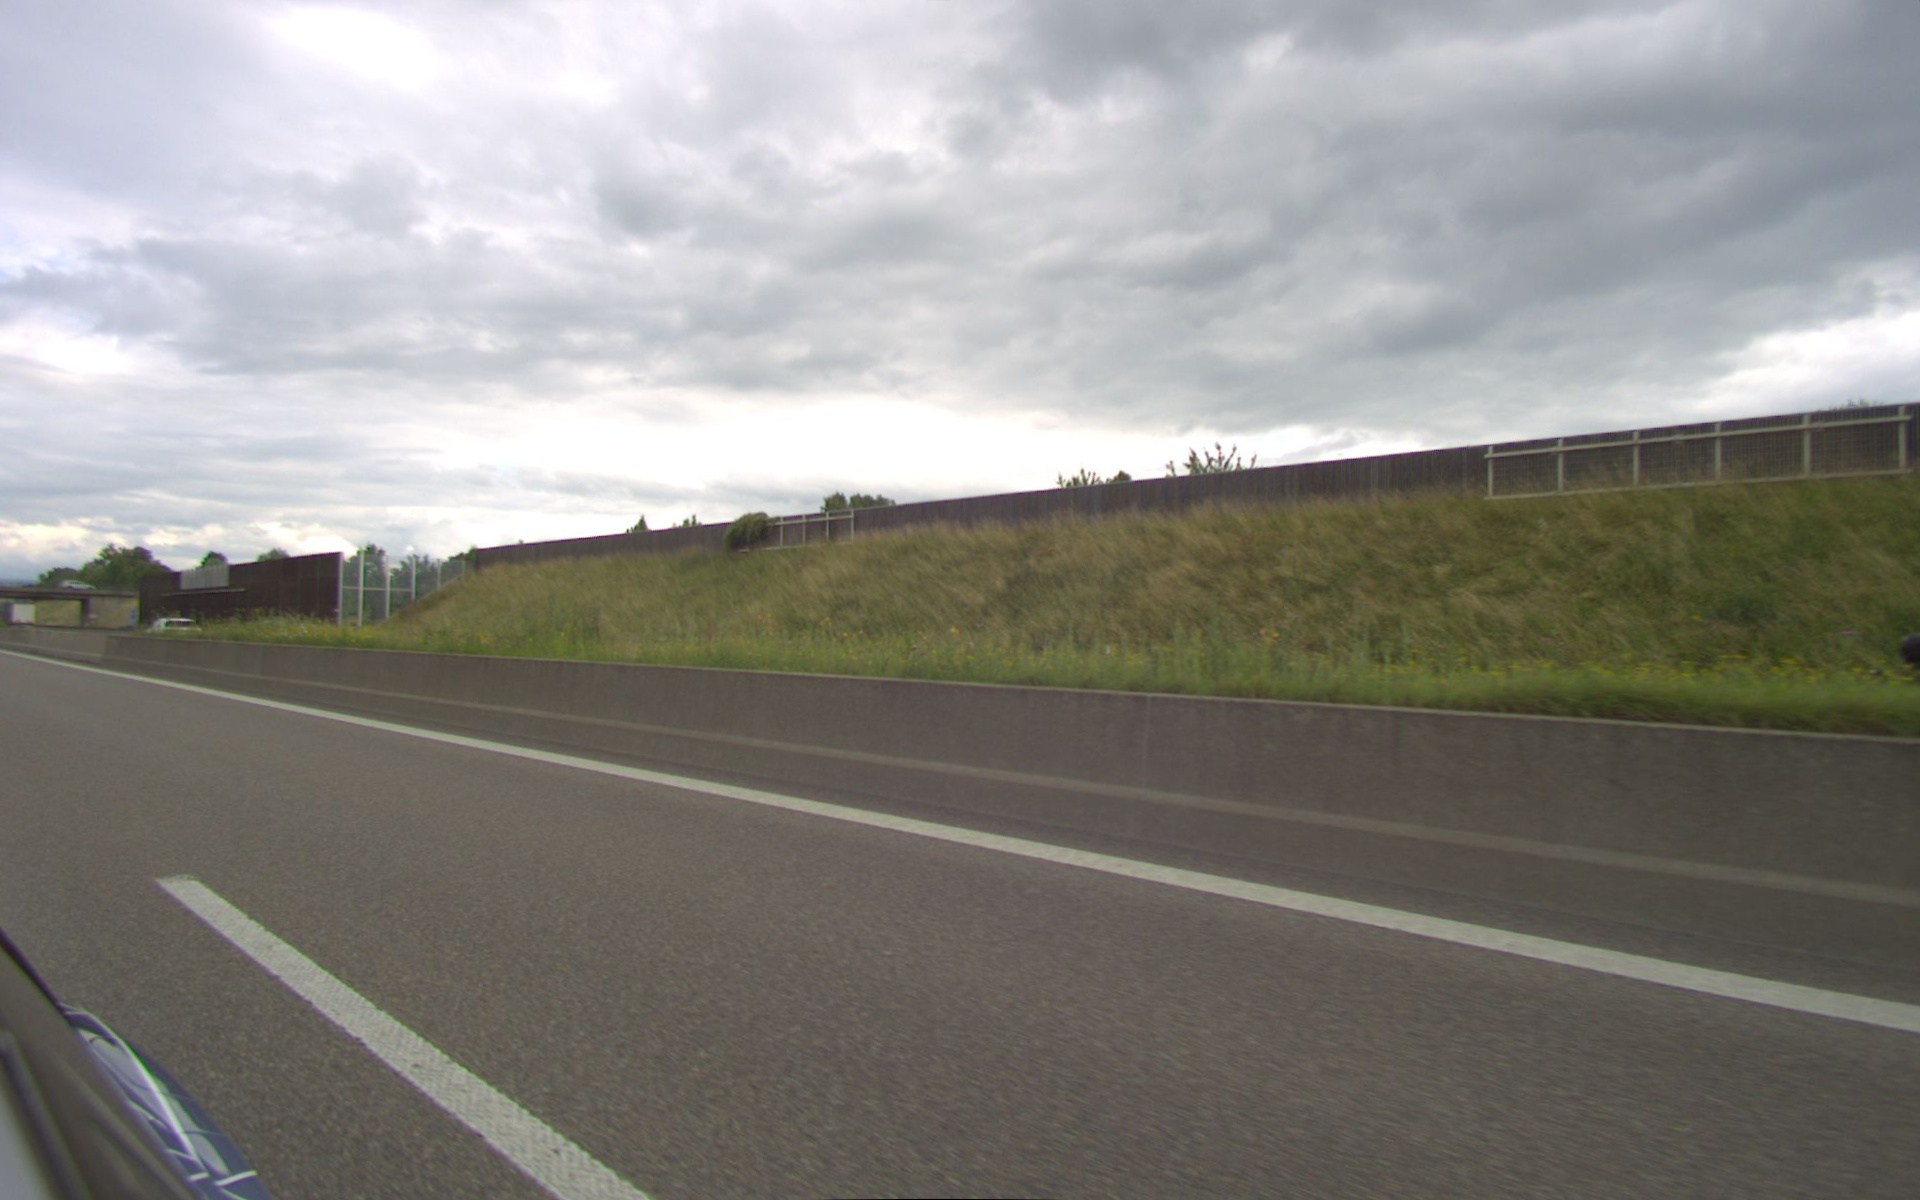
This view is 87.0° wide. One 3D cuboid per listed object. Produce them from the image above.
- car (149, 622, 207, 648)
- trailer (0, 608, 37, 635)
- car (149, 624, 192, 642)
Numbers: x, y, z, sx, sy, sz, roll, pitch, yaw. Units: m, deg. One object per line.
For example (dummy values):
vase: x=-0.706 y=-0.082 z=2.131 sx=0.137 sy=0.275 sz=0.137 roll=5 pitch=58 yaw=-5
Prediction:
car: x=-41.056 y=1.811 z=53.116 sx=3.697 sy=1.281 sz=1.693 roll=-1 pitch=0 yaw=41
trailer: x=-145.185 y=3.302 z=155.486 sx=12.674 sy=4.010 sz=3.633 roll=-1 pitch=0 yaw=42
car: x=-66.741 y=2.757 z=85.493 sx=4.938 sy=1.374 sz=1.973 roll=-1 pitch=0 yaw=41
